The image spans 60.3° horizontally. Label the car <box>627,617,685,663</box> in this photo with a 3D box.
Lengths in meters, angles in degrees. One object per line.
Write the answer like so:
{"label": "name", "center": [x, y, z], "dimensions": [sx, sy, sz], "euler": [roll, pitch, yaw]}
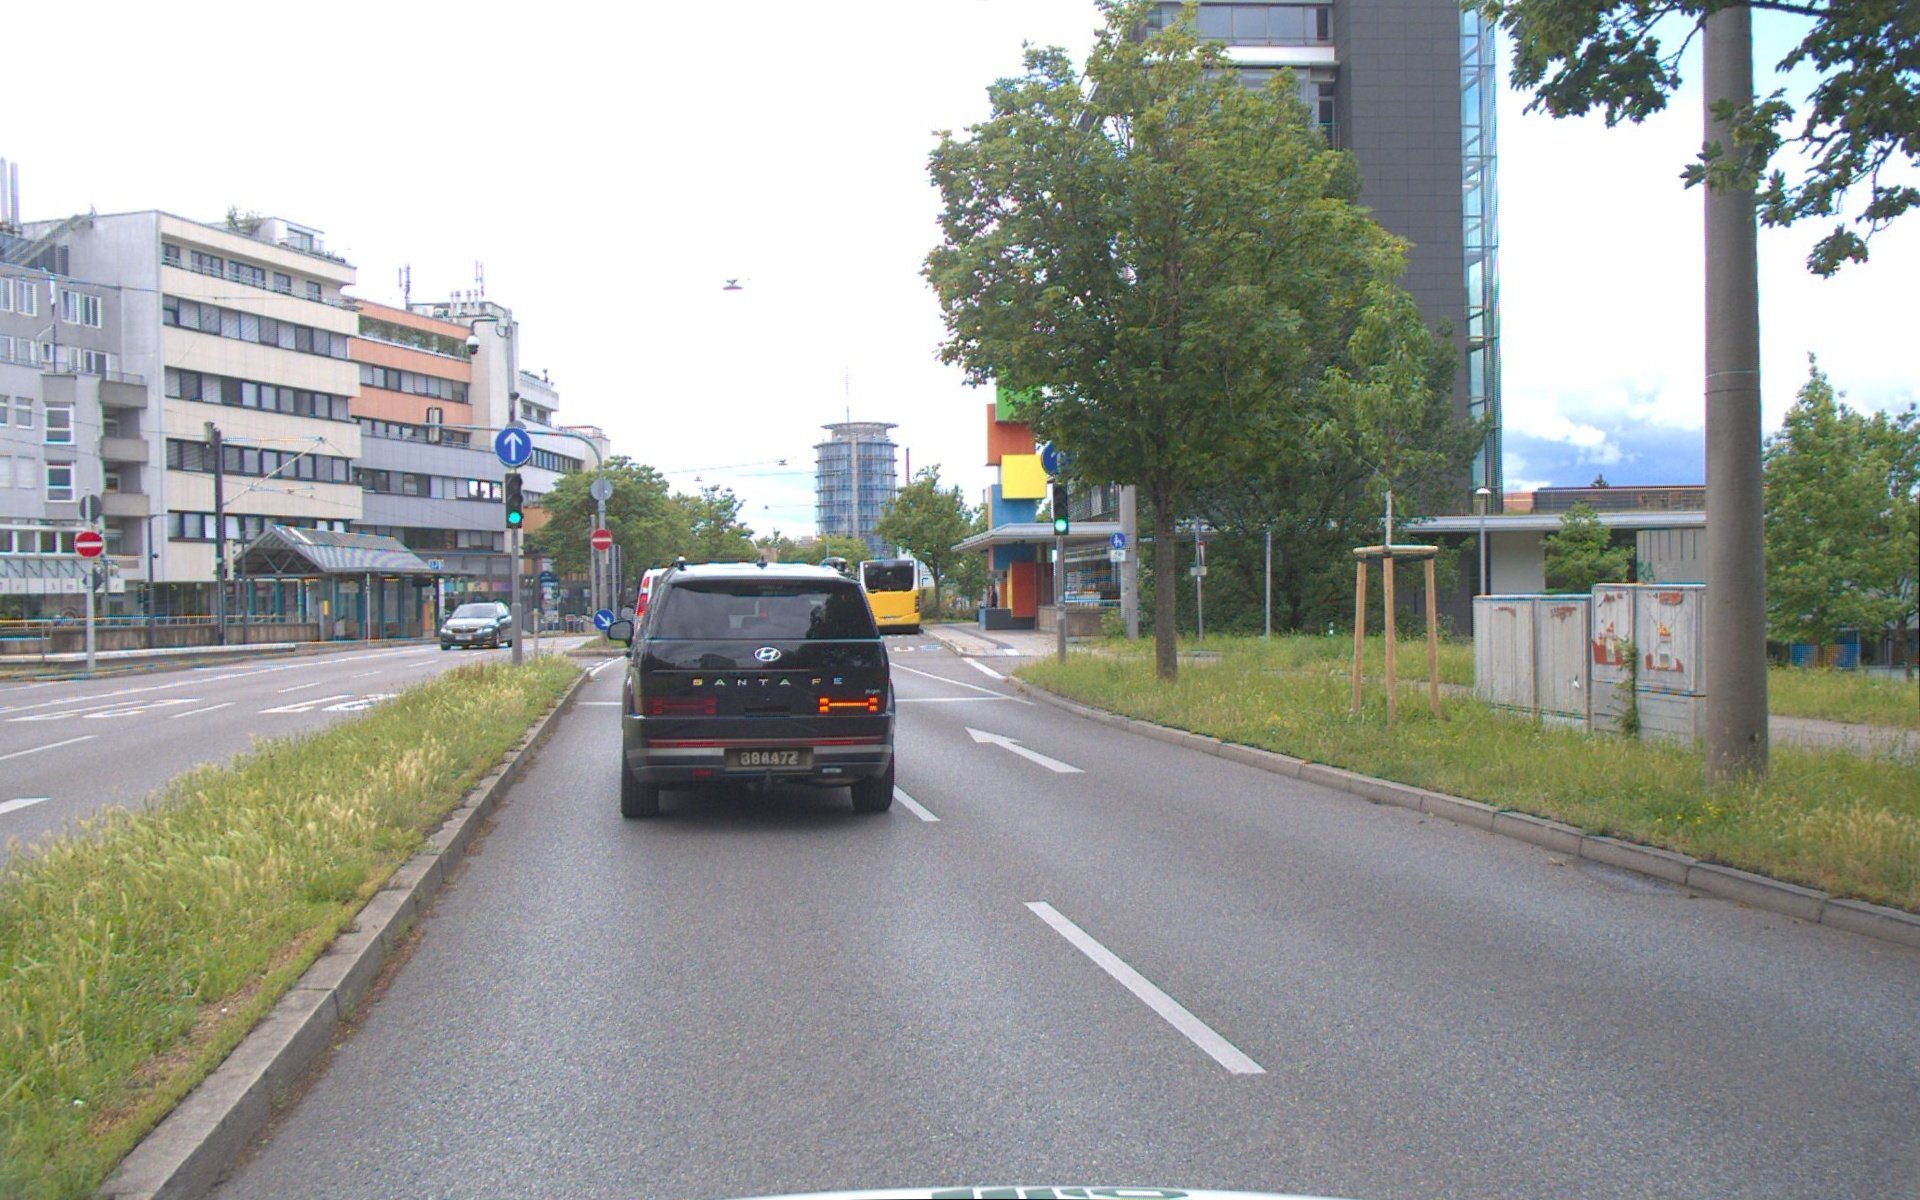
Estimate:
{"label": "car", "center": [-10.513, 1.351, 57.484], "dimensions": [1.838, 1.443, 4.434], "euler": [0, 1, -9]}

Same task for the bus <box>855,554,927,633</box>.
{"label": "bus", "center": [-3.014, -0.241, 73.251], "dimensions": [2.907, 3.171, 9.240], "euler": [-2, 0, -2]}

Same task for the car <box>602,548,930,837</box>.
{"label": "car", "center": [-1.652, 0.544, 12.478], "dimensions": [1.870, 1.762, 4.429], "euler": [0, 1, -15]}

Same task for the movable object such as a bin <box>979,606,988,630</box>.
{"label": "movable object such as a bin", "center": [0.935, 0.712, 65.850], "dimensions": [0.349, 0.913, 0.462], "euler": [-1, 0, -3]}

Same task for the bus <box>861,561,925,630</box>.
{"label": "bus", "center": [-3.329, -0.198, 82.756], "dimensions": [2.893, 3.166, 9.972], "euler": [-2, 0, -2]}

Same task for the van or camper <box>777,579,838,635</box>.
{"label": "van or camper", "center": [-5.770, 0.219, 62.223], "dimensions": [1.957, 1.951, 4.399], "euler": [0, 1, -9]}

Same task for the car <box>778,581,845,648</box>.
{"label": "car", "center": [-4.420, 0.380, 48.796], "dimensions": [1.865, 1.891, 4.703], "euler": [0, 1, -6]}

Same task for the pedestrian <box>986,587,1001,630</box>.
{"label": "pedestrian", "center": [1.346, 0.331, 66.507], "dimensions": [0.514, 1.702, 0.732], "euler": [-1, 0, -3]}

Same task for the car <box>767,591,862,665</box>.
{"label": "car", "center": [-3.414, 0.591, 38.147], "dimensions": [1.867, 1.569, 4.699], "euler": [0, 1, -9]}

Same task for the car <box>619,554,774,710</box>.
{"label": "car", "center": [-3.879, 0.386, 23.759], "dimensions": [1.869, 2.003, 4.620], "euler": [0, 1, -13]}

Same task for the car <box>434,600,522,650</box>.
{"label": "car", "center": [-15.342, 0.761, 52.894], "dimensions": [1.763, 1.480, 4.608], "euler": [-1, 0, -5]}
